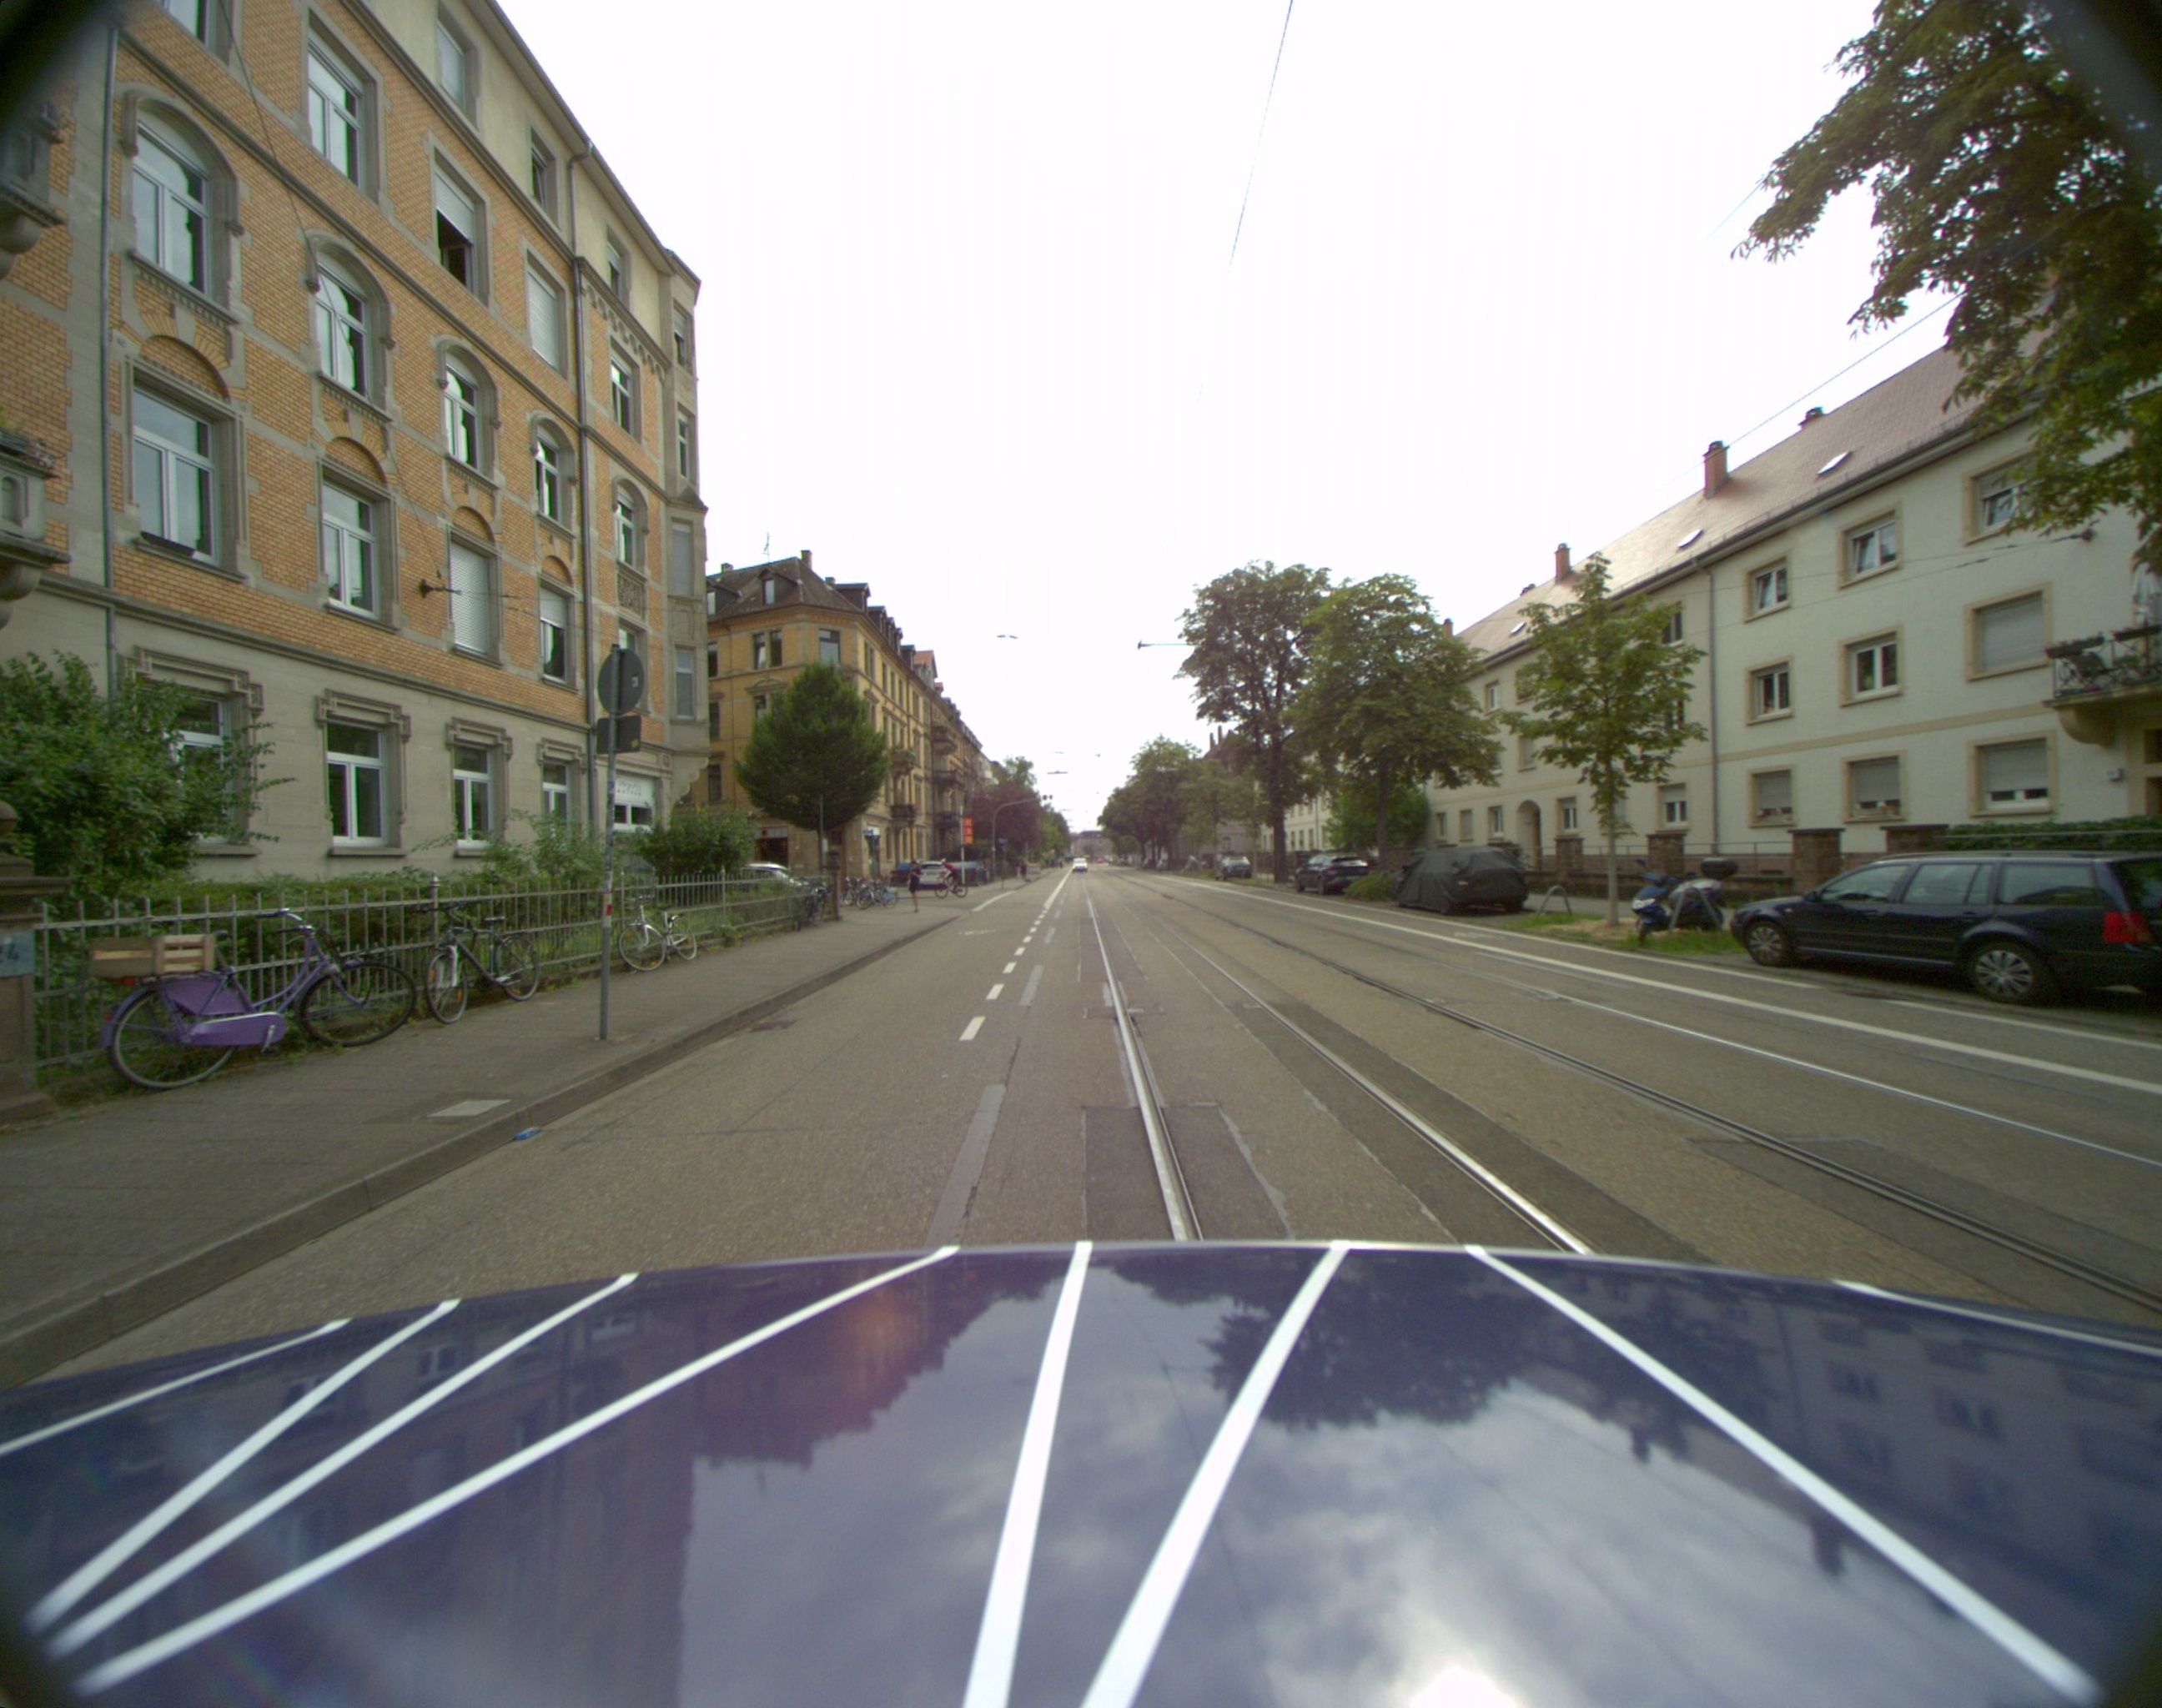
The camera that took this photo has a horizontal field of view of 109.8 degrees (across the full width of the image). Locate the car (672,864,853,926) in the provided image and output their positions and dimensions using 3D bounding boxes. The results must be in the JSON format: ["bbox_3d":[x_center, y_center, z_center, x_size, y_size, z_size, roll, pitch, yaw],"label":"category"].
[{"bbox_3d":[-8.785,1.118,21.191,4.296,1.498,1.702,-2,0,1],"label":"car"}]

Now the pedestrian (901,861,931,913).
[{"bbox_3d":[-5.311,1.057,24.449,0.732,1.614,0.835,-1,0,0],"label":"pedestrian"}]

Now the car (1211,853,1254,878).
[{"bbox_3d":[9.591,0.711,48.345,1.701,1.462,4.299,-2,0,-2],"label":"car"}]

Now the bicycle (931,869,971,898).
[{"bbox_3d":[-5.806,1.316,33.949,1.669,1.250,0.582,-3,-2,19],"label":"bicycle"}]

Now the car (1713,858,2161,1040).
[{"bbox_3d":[9.687,0.798,8.450,1.701,1.415,4.300,-3,0,0],"label":"car"}]

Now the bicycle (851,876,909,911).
[{"bbox_3d":[-6.974,1.352,26.440,0.629,1.106,1.878,-1,0,43],"label":"bicycle"}]

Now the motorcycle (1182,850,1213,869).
[{"bbox_3d":[9.787,0.462,63.980,2.312,1.382,0.838,-7,1,32],"label":"motorcycle"}]

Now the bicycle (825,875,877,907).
[{"bbox_3d":[-8.477,1.367,27.999,1.889,1.121,0.533,-1,0,22],"label":"bicycle"}]

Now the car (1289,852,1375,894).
[{"bbox_3d":[9.517,0.689,29.161,1.701,1.462,4.299,-1,0,-2],"label":"car"}]

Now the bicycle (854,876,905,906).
[{"bbox_3d":[-7.886,1.435,29.685,1.890,1.121,0.533,-1,0,17],"label":"bicycle"}]

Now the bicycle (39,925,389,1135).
[{"bbox_3d":[-6.030,1.149,5.454,0.580,1.105,1.672,2,0,-1],"label":"bicycle"}]

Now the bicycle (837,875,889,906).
[{"bbox_3d":[-8.215,1.365,28.626,1.889,1.121,0.533,-1,0,22],"label":"bicycle"}]

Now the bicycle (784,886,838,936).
[{"bbox_3d":[-5.992,1.239,16.955,0.580,0.977,1.672,2,0,-1],"label":"bicycle"}]

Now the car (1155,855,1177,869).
[{"bbox_3d":[9.576,0.859,85.878,1.732,1.462,4.299,-1,0,-2],"label":"car"}]

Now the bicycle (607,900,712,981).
[{"bbox_3d":[-6.078,1.216,11.064,0.580,0.977,1.672,2,0,-1],"label":"bicycle"}]

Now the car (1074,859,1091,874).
[{"bbox_3d":[0.156,1.491,93.594,1.876,1.670,5.130,-1,0,-1],"label":"car"}]

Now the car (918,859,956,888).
[{"bbox_3d":[-8.300,1.092,43.999,1.757,1.516,3.998,-2,0,-5],"label":"car"}]

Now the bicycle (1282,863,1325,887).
[{"bbox_3d":[9.882,0.928,33.755,1.672,0.965,0.672,-1,0,-9],"label":"bicycle"}]

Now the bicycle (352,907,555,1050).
[{"bbox_3d":[-6.020,1.140,7.428,0.580,1.105,1.672,2,0,-1],"label":"bicycle"}]

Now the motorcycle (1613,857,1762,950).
[{"bbox_3d":[9.751,0.777,12.240,1.871,1.253,0.592,-7,1,-4],"label":"motorcycle"}]

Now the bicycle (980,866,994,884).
[{"bbox_3d":[-6.164,1.359,49.810,0.630,1.106,1.874,-1,0,1],"label":"bicycle"}]

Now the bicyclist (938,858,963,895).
[{"bbox_3d":[-5.816,1.003,33.940,0.857,1.590,0.582,-3,-2,19],"label":"bicyclist"}]

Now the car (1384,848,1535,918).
[{"bbox_3d":[9.699,0.682,19.889,1.790,1.602,4.300,-1,0,0],"label":"car"}]
